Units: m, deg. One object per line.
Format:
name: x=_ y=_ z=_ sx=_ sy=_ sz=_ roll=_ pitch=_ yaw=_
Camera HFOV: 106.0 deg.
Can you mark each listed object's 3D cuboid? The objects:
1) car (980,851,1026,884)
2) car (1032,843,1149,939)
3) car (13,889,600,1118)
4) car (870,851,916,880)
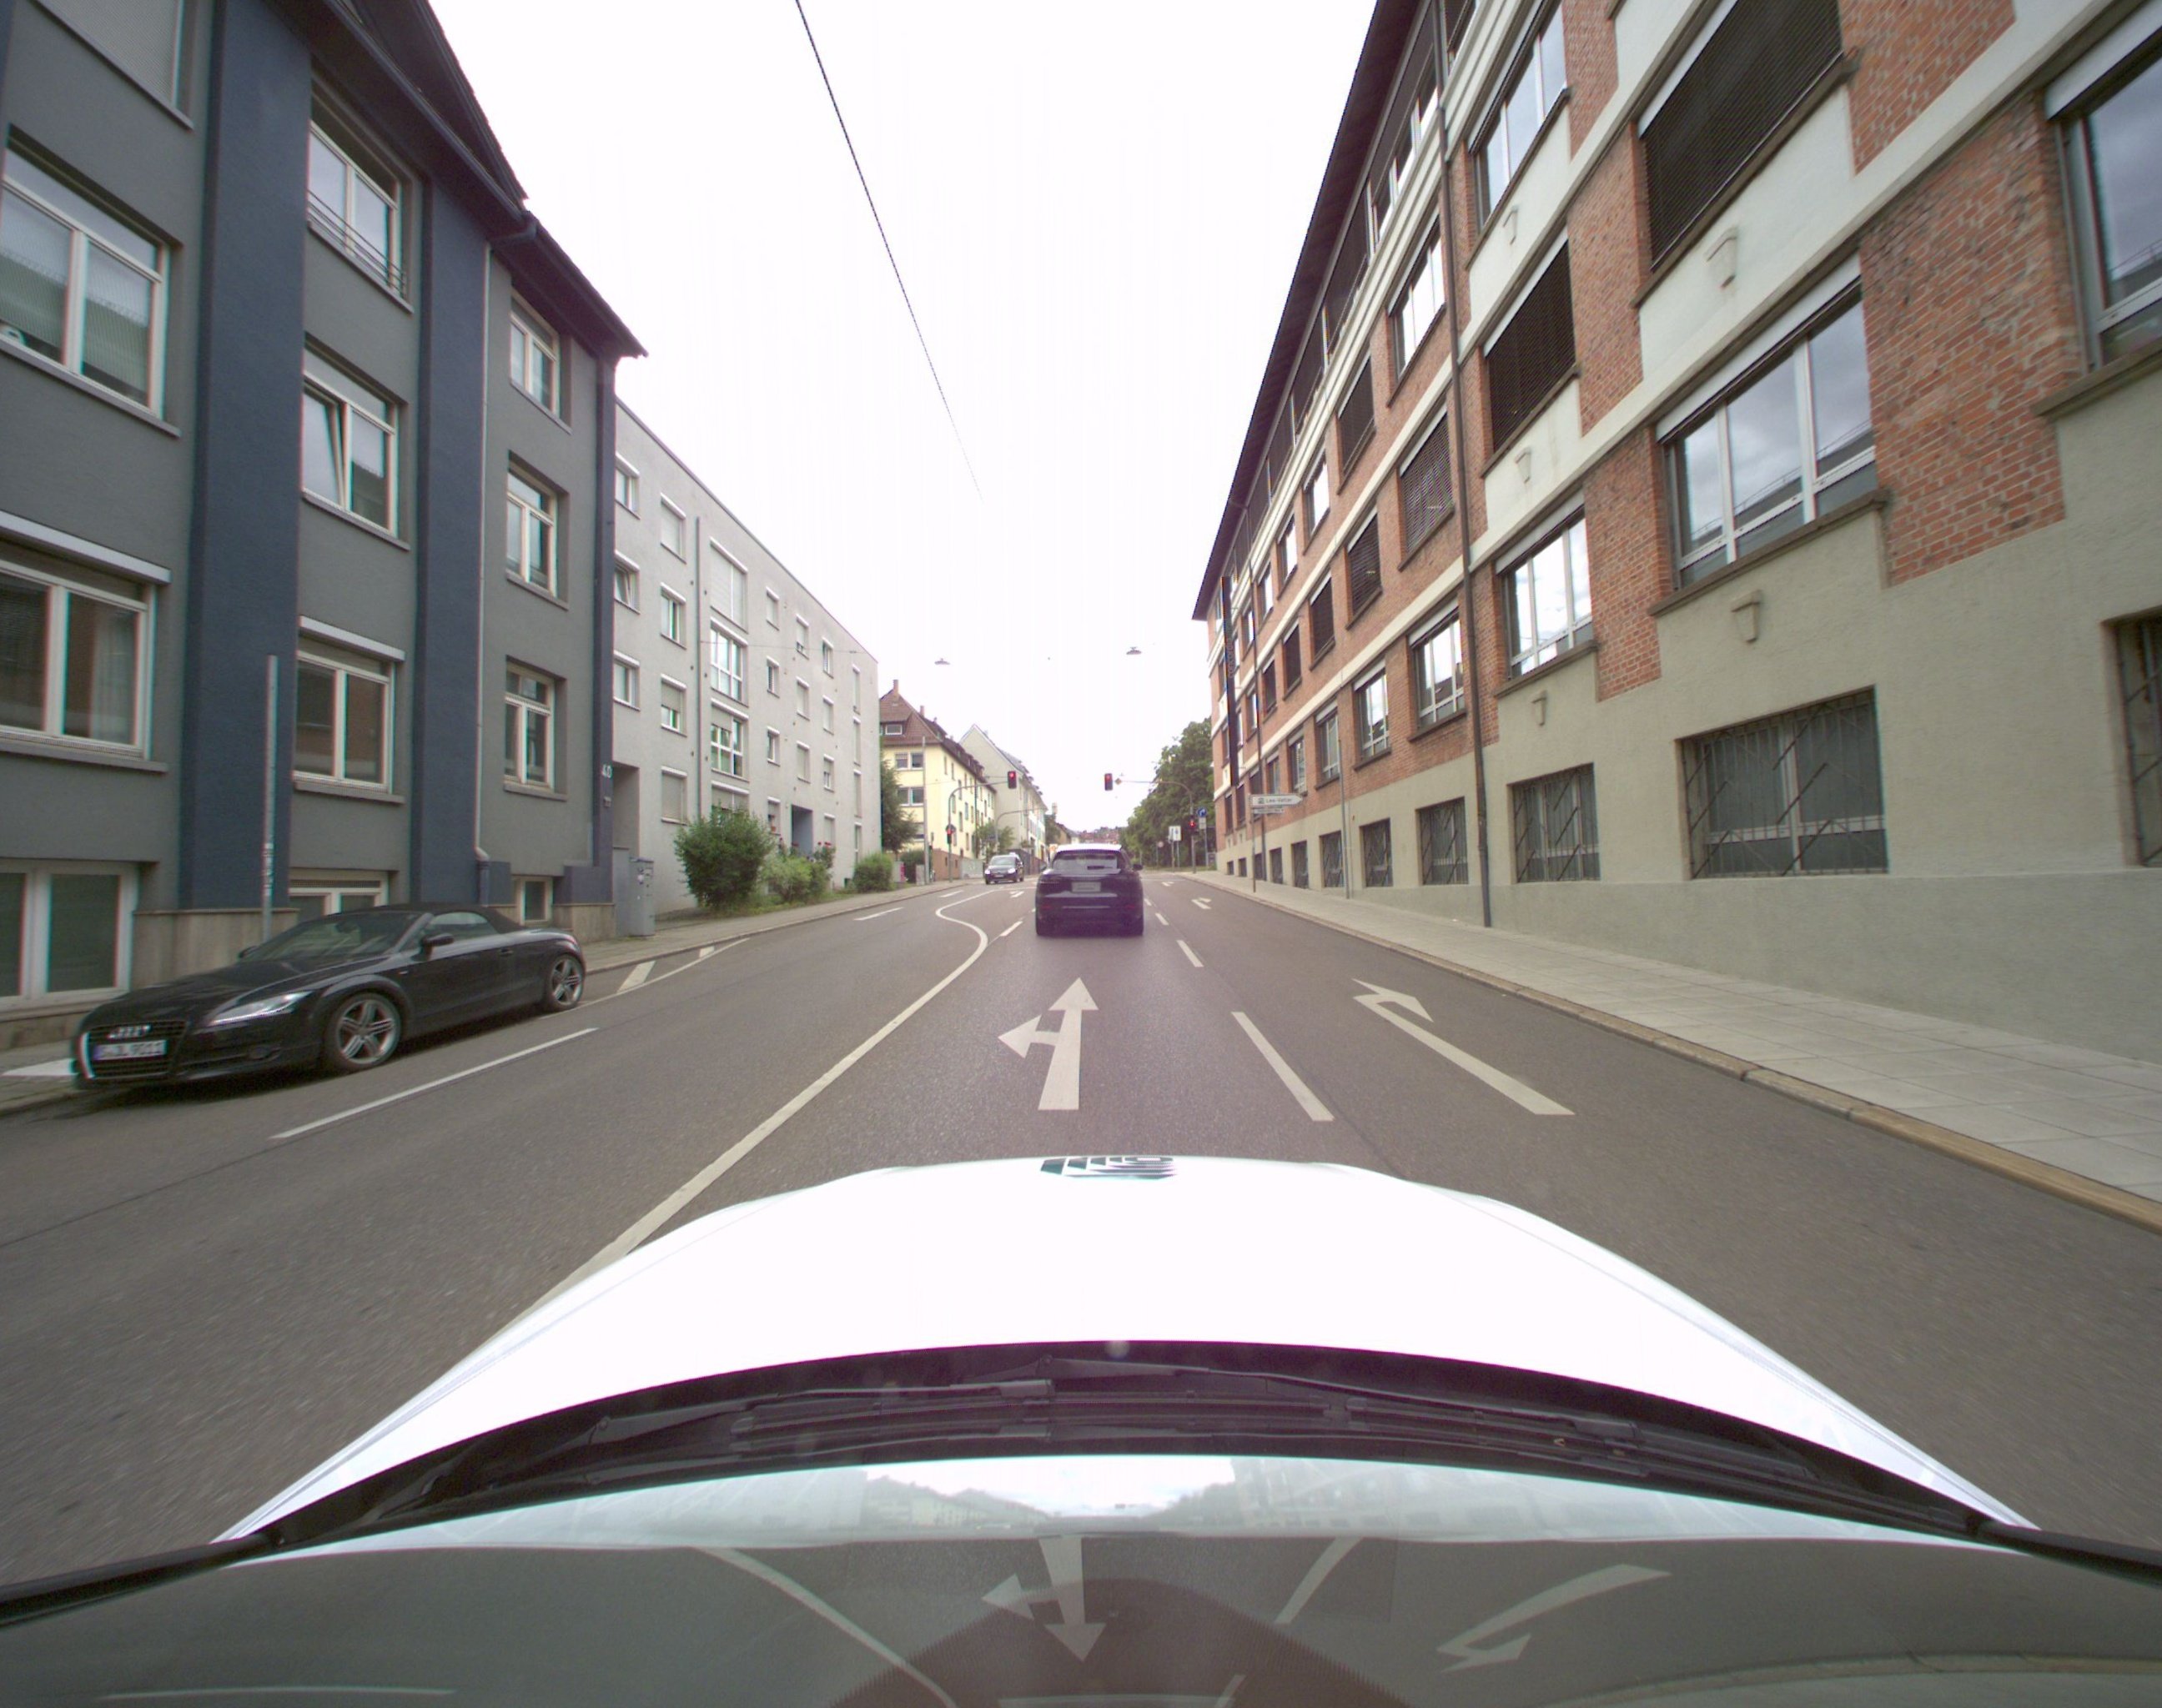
car: x=-4.457 y=0.730 z=47.174 sx=1.889 sy=1.691 sz=4.004 roll=-4 pitch=0 yaw=3
car: x=0.093 y=0.629 z=16.232 sx=2.019 sy=1.641 sz=4.352 roll=0 pitch=0 yaw=-2
car: x=-6.696 y=1.152 z=7.774 sx=1.708 sy=1.341 sz=3.906 roll=-4 pitch=0 yaw=2
car: x=-12.093 y=0.709 z=52.617 sx=1.838 sy=1.691 sz=4.000 roll=-4 pitch=0 yaw=0
